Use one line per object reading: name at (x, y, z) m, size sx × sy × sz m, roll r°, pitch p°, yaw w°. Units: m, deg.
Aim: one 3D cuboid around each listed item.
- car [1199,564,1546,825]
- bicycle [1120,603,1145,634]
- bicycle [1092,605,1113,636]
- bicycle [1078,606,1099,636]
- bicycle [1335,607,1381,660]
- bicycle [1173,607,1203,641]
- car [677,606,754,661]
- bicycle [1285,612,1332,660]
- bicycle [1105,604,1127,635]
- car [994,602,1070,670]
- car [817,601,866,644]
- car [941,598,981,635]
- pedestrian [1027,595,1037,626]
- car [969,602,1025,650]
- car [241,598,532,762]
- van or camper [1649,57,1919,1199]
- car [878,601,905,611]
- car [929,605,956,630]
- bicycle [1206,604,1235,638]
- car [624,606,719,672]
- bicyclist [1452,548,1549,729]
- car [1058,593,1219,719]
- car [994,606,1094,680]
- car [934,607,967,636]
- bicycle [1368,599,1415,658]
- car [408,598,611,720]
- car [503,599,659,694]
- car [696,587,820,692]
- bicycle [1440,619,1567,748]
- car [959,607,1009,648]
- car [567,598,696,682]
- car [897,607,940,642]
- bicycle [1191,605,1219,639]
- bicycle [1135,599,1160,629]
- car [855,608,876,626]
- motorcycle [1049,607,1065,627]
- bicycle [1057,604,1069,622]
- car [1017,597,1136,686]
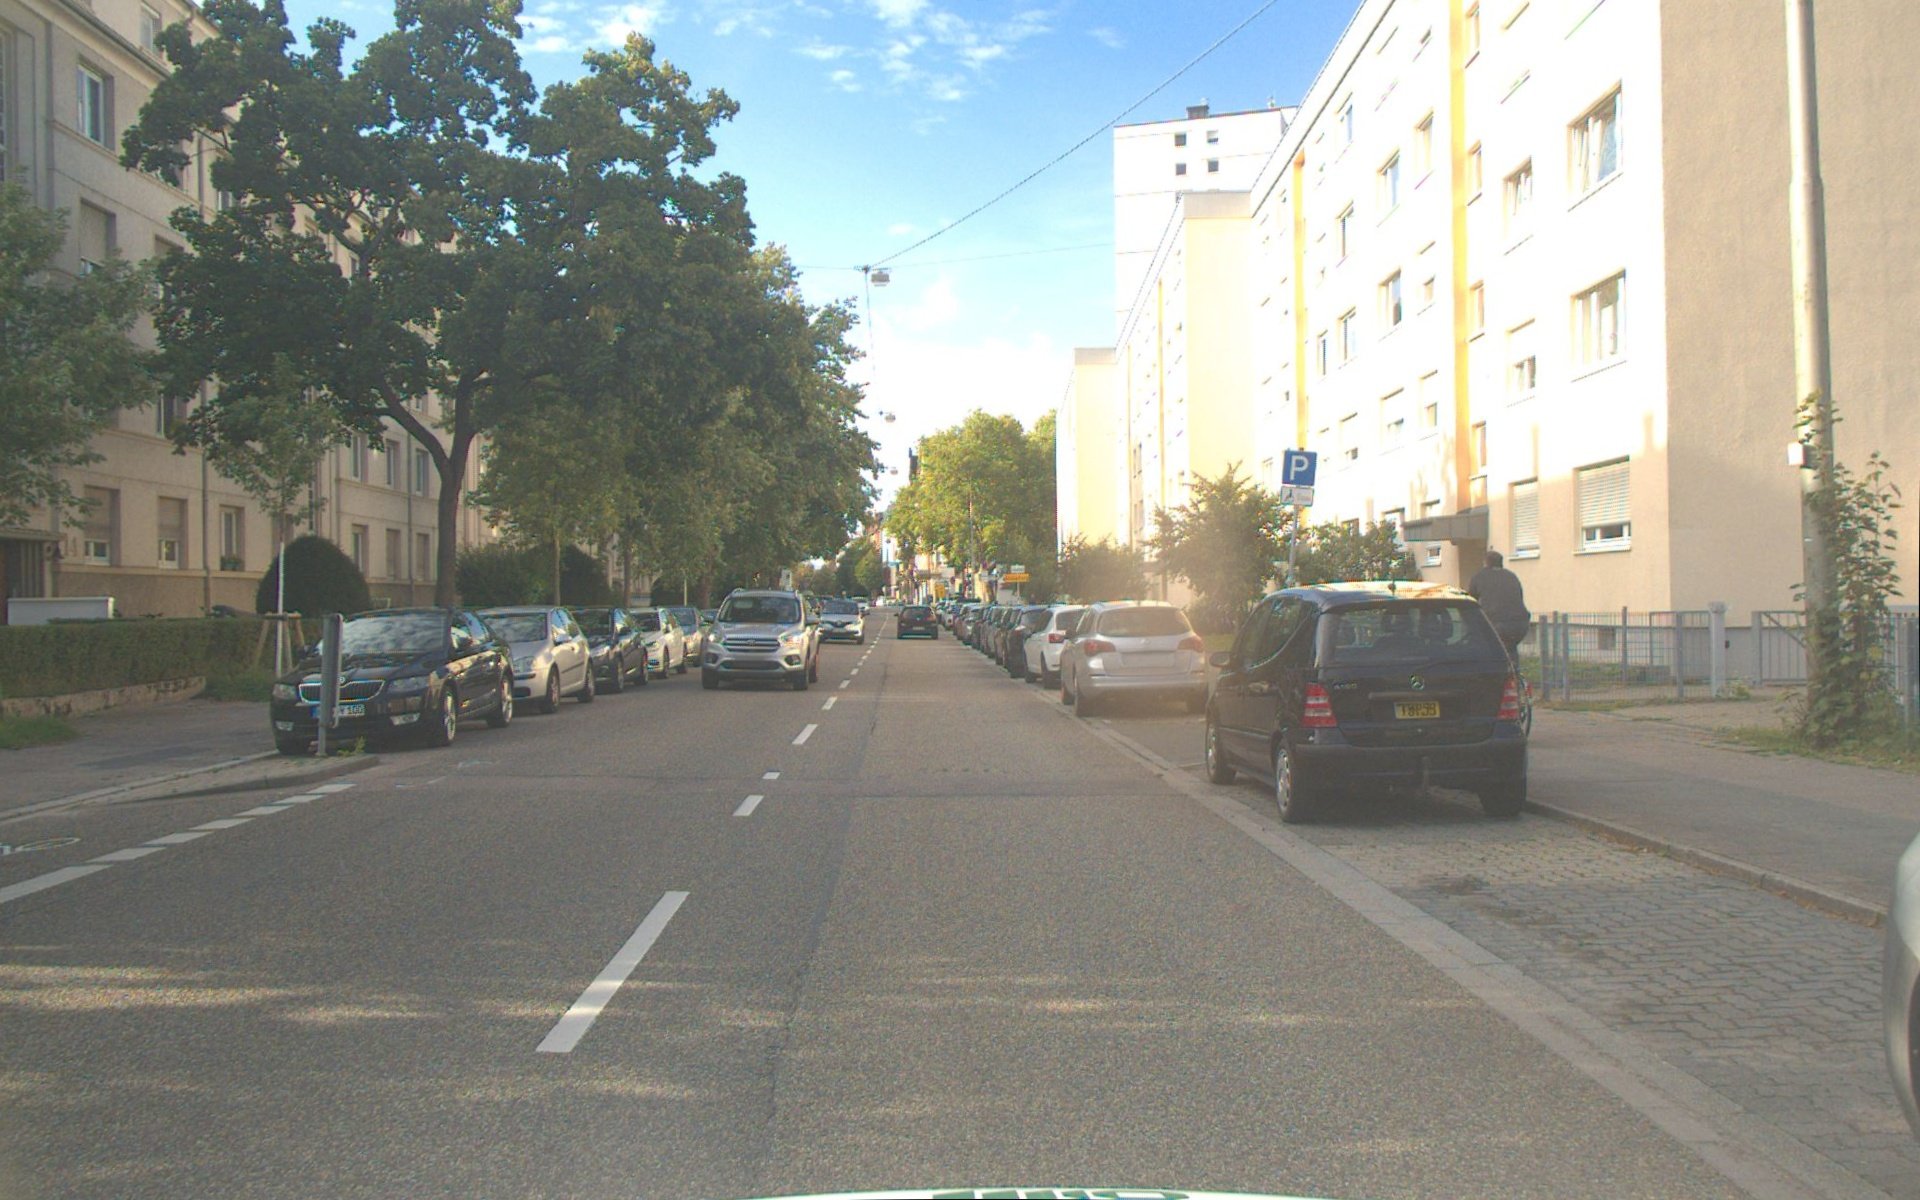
car at (2.931, 0.608, 12.589) m, size 1.639 × 1.630 × 3.970 m, roll -1°, pitch 0°, yaw 0°
bicycle at (7.581, 0.805, 72.911) m, size 0.712 × 1.313 × 2.634 m, roll -1°, pitch 0°, yaw -2°
bicycle at (6.277, 0.899, 72.874) m, size 0.592 × 1.313 × 2.634 m, roll -2°, pitch 0°, yaw -2°
bicycle at (5.656, 0.913, 72.839) m, size 0.592 × 1.313 × 2.634 m, roll -1°, pitch 0°, yaw -2°
bicycle at (8.612, 0.733, 35.823) m, size 0.511 × 1.093 × 1.590 m, roll -2°, pitch -2°, yaw -2°
bicycle at (7.424, 0.769, 53.924) m, size 0.581 × 1.048 × 2.118 m, roll -3°, pitch 0°, yaw -2°
car at (-7.121, 0.940, 48.536) m, size 1.704 × 1.417 × 4.663 m, roll -3°, pitch 0°, yaw -3°
bicycle at (7.522, 0.787, 35.750) m, size 0.584 × 1.015 × 1.691 m, roll 0°, pitch -2°, yaw -2°
bicycle at (6.871, 0.847, 72.878) m, size 0.583 × 1.313 × 2.634 m, roll -3°, pitch 0°, yaw -2°
car at (1.710, 0.843, 40.422) m, size 1.649 × 1.527 × 3.873 m, roll -1°, pitch 0°, yaw 0°
car at (-4.359, 0.811, 61.480) m, size 1.705 × 1.528 × 4.007 m, roll -1°, pitch 0°, yaw -3°
car at (0.013, 0.777, 79.074) m, size 1.694 × 1.678 × 4.114 m, roll -1°, pitch 0°, yaw -3°
pedestrian at (4.176, 0.595, 95.494) m, size 0.530 × 1.751 × 0.771 m, roll -1°, pitch 0°, yaw 3°
car at (1.224, 0.881, 56.706) m, size 1.628 × 1.517 × 3.939 m, roll -2°, pitch 0°, yaw -2°
car at (-6.182, 0.781, 18.393) m, size 1.889 × 1.512 × 4.417 m, roll -3°, pitch 0°, yaw -4°
van or camper at (3.190, 0.096, 1.777) m, size 2.116 × 2.571 × 5.911 m, roll -3°, pitch 0°, yaw -3°
car at (-10.322, 0.924, 250.349) m, size 3.914 × 1.445 × 1.996 m, roll -1°, pitch 0°, yaw -9°
car at (-1.140, 1.164, 109.611) m, size 1.655 × 1.555 × 4.237 m, roll 2°, pitch 0°, yaw 0°
bicycle at (8.510, 0.686, 54.072) m, size 0.491 × 1.048 × 2.068 m, roll -3°, pitch 0°, yaw -2°
car at (-7.200, 0.934, 41.708) m, size 1.818 × 1.512 × 4.680 m, roll -2°, pitch 0°, yaw -4°
bicyclist at (5.254, 0.364, 16.118) m, size 0.611 × 1.707 × 0.892 m, roll 0°, pitch 0°, yaw -3°
car at (2.390, 0.708, 23.104) m, size 1.727 × 1.550 × 4.329 m, roll -1°, pitch 0°, yaw 0°
car at (1.757, 0.880, 35.783) m, size 1.650 × 1.460 × 4.203 m, roll -1°, pitch 0°, yaw -4°
car at (-0.532, 1.140, 89.379) m, size 1.693 × 1.514 × 4.640 m, roll -1°, pitch 0°, yaw -1°
bicycle at (9.318, 0.626, 35.762) m, size 0.511 × 1.237 × 1.590 m, roll -2°, pitch -2°, yaw -2°
car at (-6.340, 0.767, 23.794) m, size 1.784 × 1.512 × 4.367 m, roll -3°, pitch 0°, yaw -2°
car at (-6.580, 0.755, 29.187) m, size 1.818 × 1.512 × 4.681 m, roll -1°, pitch 0°, yaw -2°
car at (-3.490, 0.662, 29.251) m, size 1.792 × 1.698 × 4.083 m, roll -1°, pitch 0°, yaw -2°
bicycle at (5.272, 0.777, 16.150) m, size 0.513 × 1.155 × 1.928 m, roll 0°, pitch 0°, yaw -3°
car at (0.876, 1.034, 62.979) m, size 1.628 × 1.441 × 4.057 m, roll -2°, pitch 0°, yaw -2°
car at (-6.766, 0.778, 34.568) m, size 1.818 × 1.511 × 4.796 m, roll -4°, pitch 0°, yaw -2°
car at (-1.805, 1.048, 71.091) m, size 1.717 × 1.438 × 3.997 m, roll 0°, pitch 0°, yaw -3°
bicycle at (8.000, 0.720, 54.054) m, size 0.491 × 1.048 × 2.094 m, roll -3°, pitch 0°, yaw -2°
bicycle at (8.279, 0.619, 73.005) m, size 0.712 × 1.314 × 2.634 m, roll 0°, pitch 0°, yaw -2°
car at (-8.550, 1.516, 149.962) m, size 1.821 × 1.555 × 4.009 m, roll 0°, pitch 0°, yaw -1°
motorcycle at (5.321, 0.906, 91.007) m, size 0.618 × 1.063 × 2.392 m, roll -1°, pitch 0°, yaw -3°
bicycle at (6.869, 0.854, 110.328) m, size 0.518 × 1.134 × 2.208 m, roll -1°, pitch 0°, yaw -2°
car at (2.101, 0.726, 30.891) m, size 1.650 × 1.493 × 4.203 m, roll -1°, pitch 0°, yaw -3°
